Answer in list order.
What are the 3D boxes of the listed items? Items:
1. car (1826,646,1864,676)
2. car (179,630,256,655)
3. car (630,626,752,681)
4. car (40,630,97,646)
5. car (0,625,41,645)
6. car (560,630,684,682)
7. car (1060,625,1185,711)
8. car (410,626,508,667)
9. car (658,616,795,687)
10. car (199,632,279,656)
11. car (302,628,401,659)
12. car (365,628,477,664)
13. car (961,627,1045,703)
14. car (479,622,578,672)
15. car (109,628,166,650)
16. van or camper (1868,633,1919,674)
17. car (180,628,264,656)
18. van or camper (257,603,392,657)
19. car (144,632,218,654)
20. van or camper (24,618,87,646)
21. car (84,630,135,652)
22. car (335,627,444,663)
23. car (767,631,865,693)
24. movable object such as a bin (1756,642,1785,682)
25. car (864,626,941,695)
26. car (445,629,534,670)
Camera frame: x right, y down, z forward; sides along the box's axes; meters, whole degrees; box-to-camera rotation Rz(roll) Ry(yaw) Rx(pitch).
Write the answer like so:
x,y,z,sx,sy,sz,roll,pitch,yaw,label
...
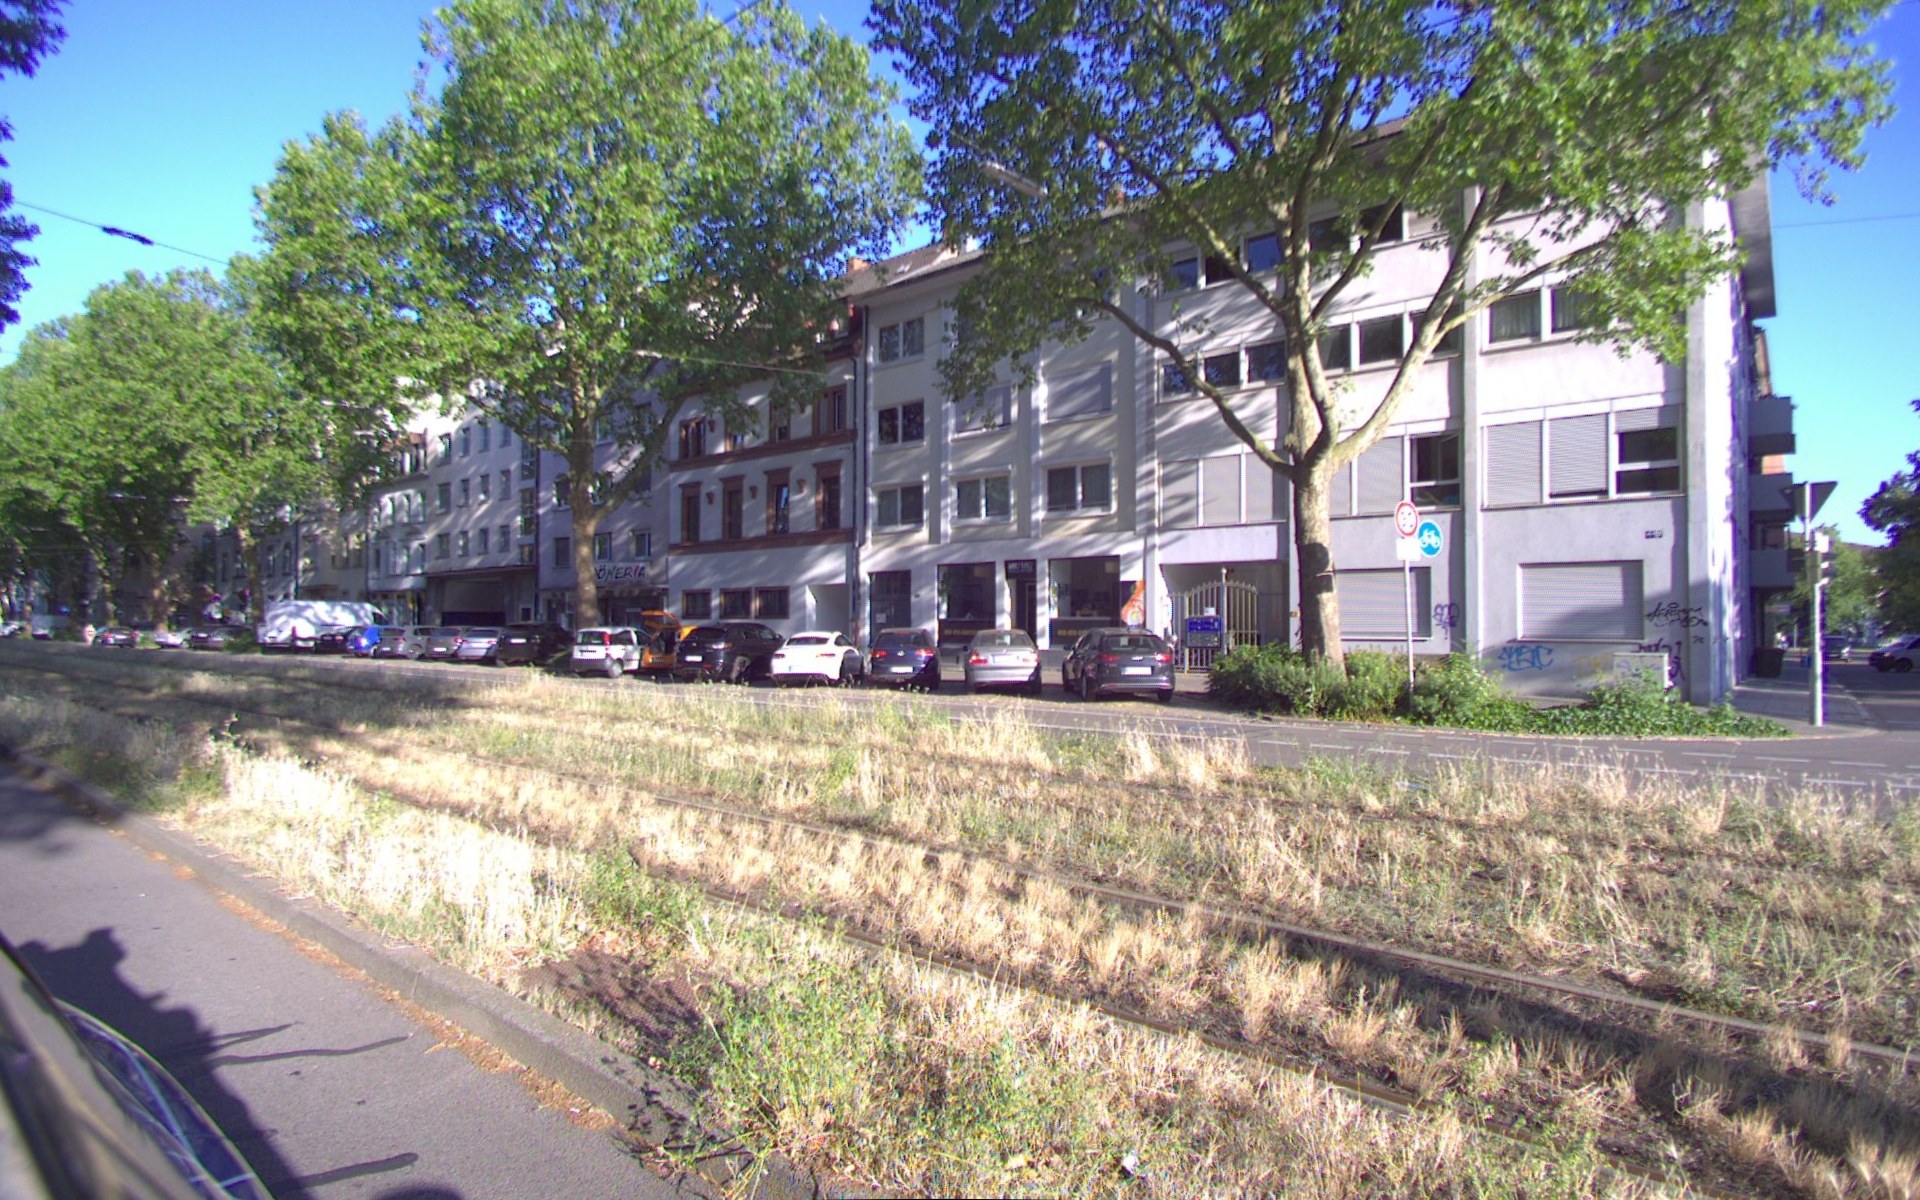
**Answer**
x,y,z,sx,sy,sz,roll,pitch,yaw,label
63.361,4.311,72.459,1.999,2.029,3.945,-1,-2,41,car
-47.729,2.785,65.176,1.803,1.545,3.994,0,-3,4,car
-8.362,1.625,31.793,1.764,1.490,3.974,-1,0,20,car
-86.015,3.626,97.692,1.709,1.256,3.993,-1,1,6,car
-107.378,3.981,115.159,1.971,2.029,4.002,-1,0,-2,car
-10.464,1.692,31.694,1.643,1.460,4.345,0,-1,14,car
3.293,1.341,21.286,1.791,1.490,4.002,-1,0,-2,car
-20.539,1.879,41.668,1.735,1.433,3.993,-1,0,6,car
-6.461,1.466,28.604,1.975,1.800,4.343,1,-3,14,car
-43.002,2.638,60.447,1.778,1.368,4.002,0,-3,3,car
-30.745,2.174,51.255,1.984,1.502,3.975,-1,-2,18,car
-23.602,1.996,44.436,1.941,1.503,3.964,-1,-2,27,car
0.898,1.427,23.276,1.698,1.452,4.000,-1,0,-1,car
-15.683,1.676,37.017,1.972,1.673,4.000,-1,-1,-1,car
-63.509,3.035,78.208,1.703,1.666,4.008,0,-2,-10,car
49.523,2.686,51.051,5.085,2.029,1.991,0,-2,14,van or camper
-45.530,2.609,62.548,1.912,1.605,4.155,0,-4,4,car
-32.966,1.568,52.781,2.162,2.666,5.929,-1,-2,19,van or camper
-51.785,2.828,67.343,1.806,1.400,3.670,0,-2,9,car
-88.320,3.090,98.895,2.171,2.418,4.364,-1,1,0,van or camper
-56.651,2.744,67.398,4.480,1.400,1.802,-1,-4,40,car
-25.995,2.020,46.214,1.854,1.431,3.951,-1,0,36,car
-3.695,1.578,26.686,1.700,1.343,4.200,-1,0,4,car
27.824,2.120,34.738,0.745,1.315,0.861,-1,-2,39,movable object such as a bin
-1.442,1.465,25.681,1.776,1.452,4.002,-1,0,-3,car
-18.297,1.886,39.538,1.883,1.396,4.004,-1,-1,-5,car
